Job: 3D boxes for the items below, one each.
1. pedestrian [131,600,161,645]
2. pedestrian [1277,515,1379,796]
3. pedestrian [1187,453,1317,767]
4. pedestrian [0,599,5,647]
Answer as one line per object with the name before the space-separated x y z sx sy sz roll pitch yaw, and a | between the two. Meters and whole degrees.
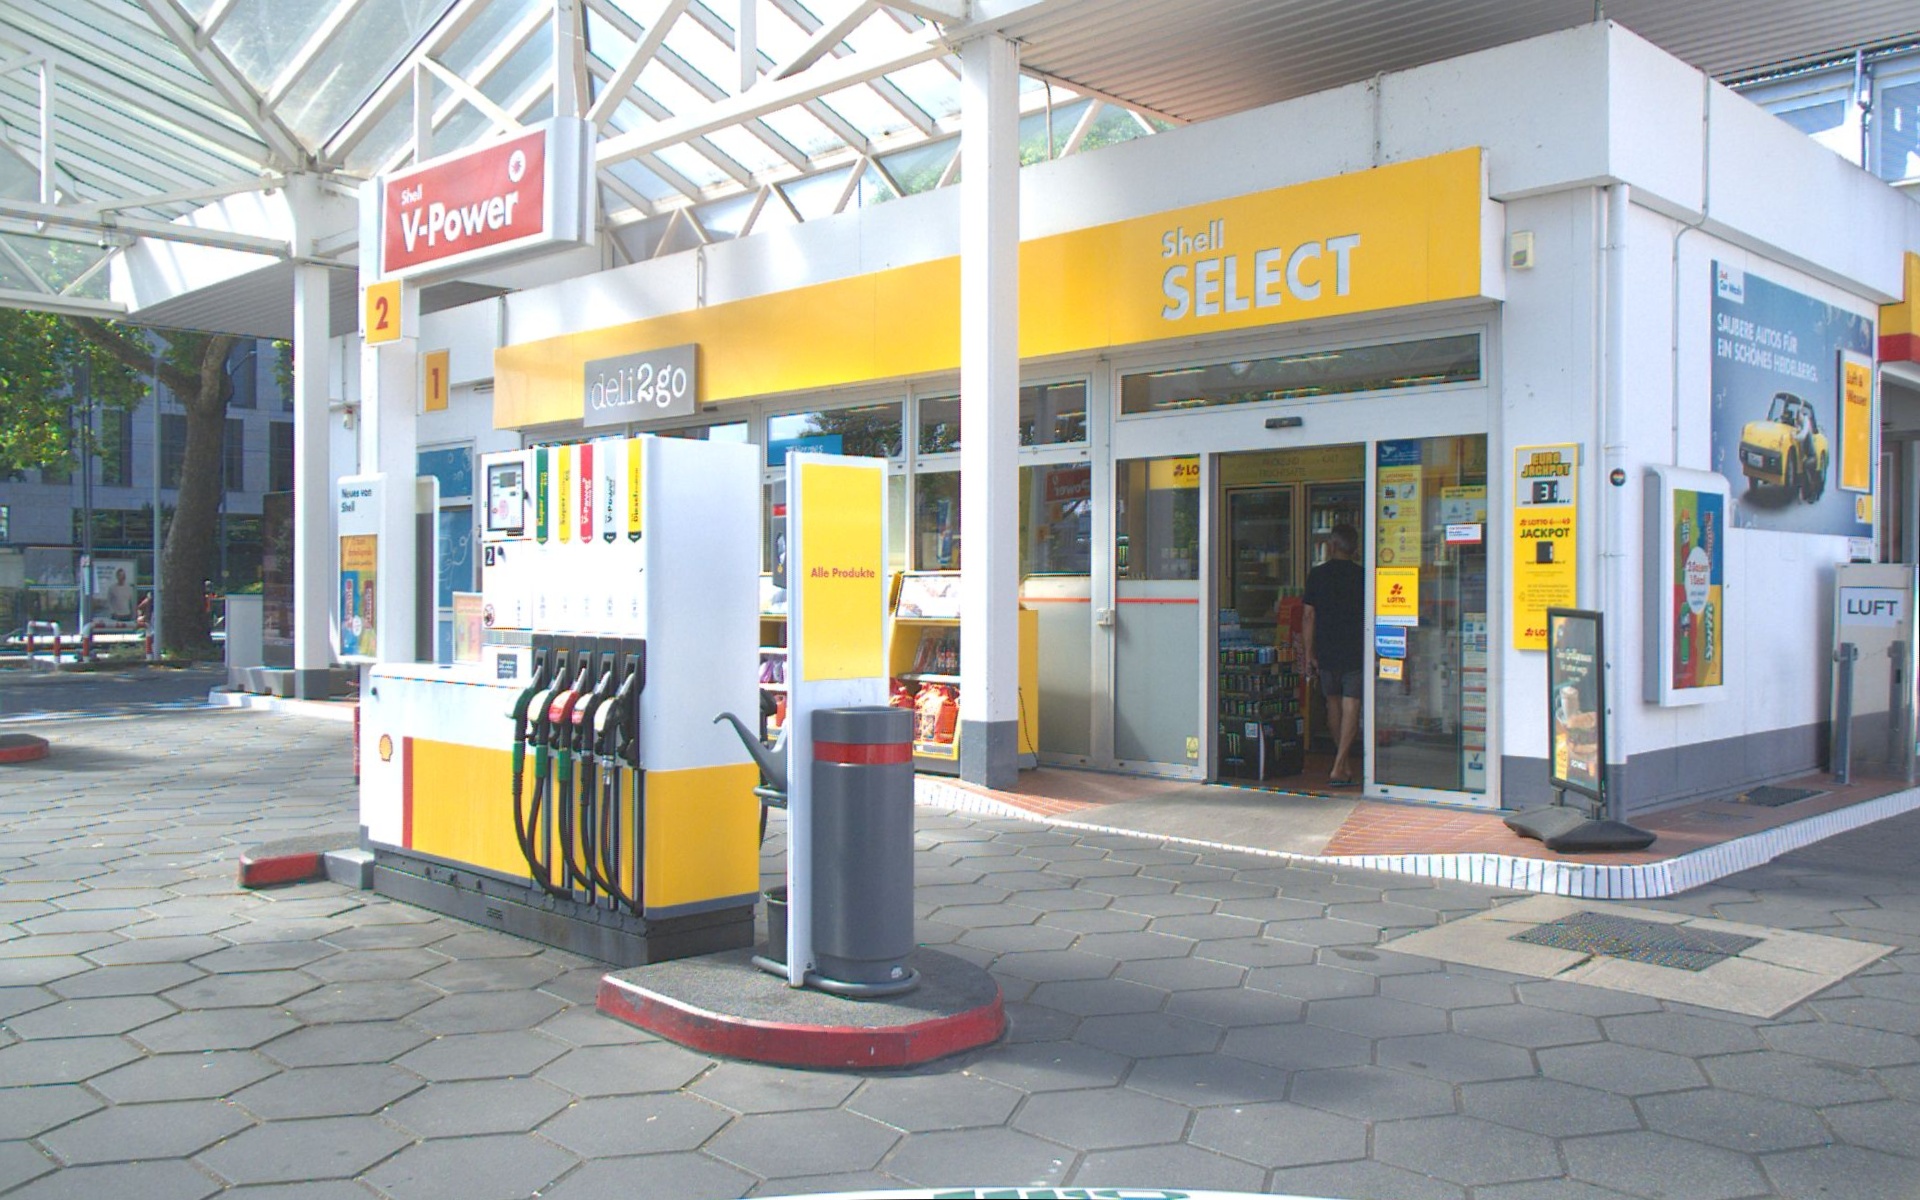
pedestrian | -21.176 0.589 43.028 0.624 1.157 0.517 -1 0 -39
pedestrian | 2.430 0.350 10.907 0.560 1.792 0.530 0 0 24
pedestrian | 1.997 0.065 11.275 0.611 2.049 0.740 0 0 36
pedestrian | -23.653 0.557 40.399 0.495 1.158 0.517 0 0 -39
